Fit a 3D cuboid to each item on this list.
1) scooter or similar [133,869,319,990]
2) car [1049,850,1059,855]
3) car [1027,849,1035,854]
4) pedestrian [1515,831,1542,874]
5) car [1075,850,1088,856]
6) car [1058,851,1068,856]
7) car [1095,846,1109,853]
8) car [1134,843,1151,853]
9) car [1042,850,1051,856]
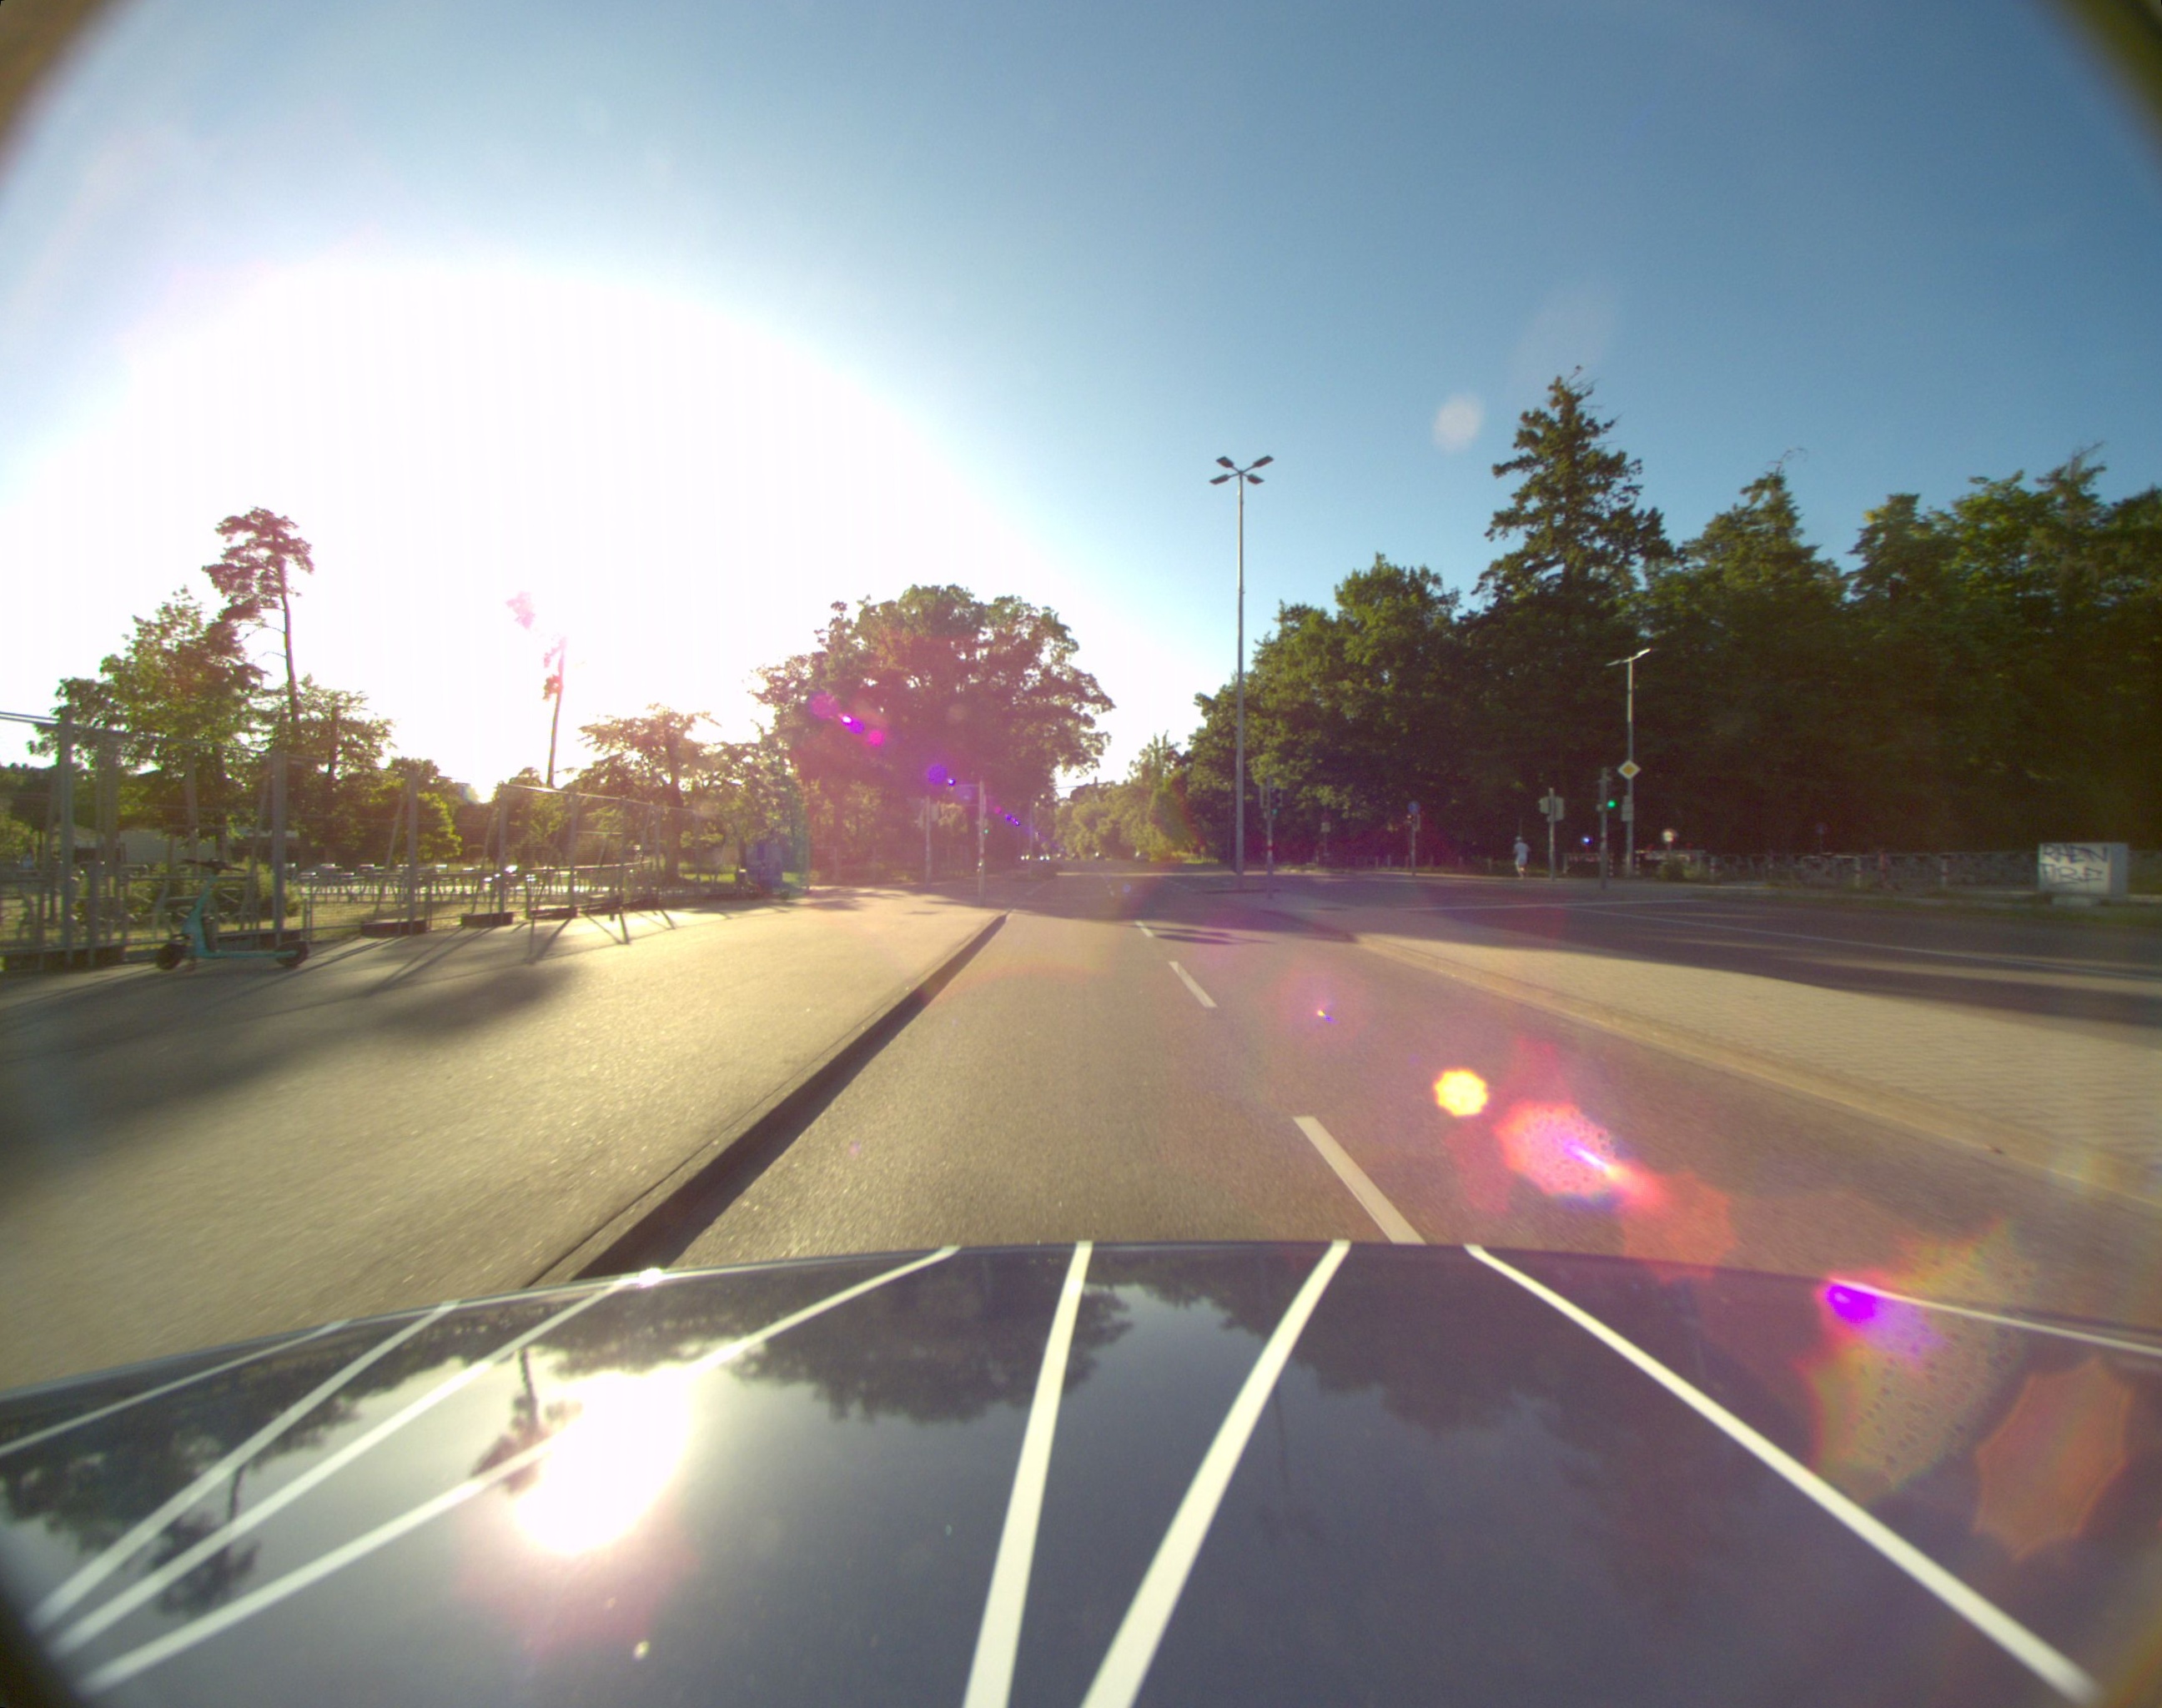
[{"bbox_3d":[-9.386,0.794,8.395,1.303,1.230,0.334,0,1,-33],"label":"scooter or similar"},{"bbox_3d":[-7.965,-0.421,222.255,1.876,1.346,4.003,0,0,-16],"label":"car"},{"bbox_3d":[-16.831,-0.844,255.610,1.876,1.346,4.003,0,0,-17],"label":"car"},{"bbox_3d":[18.561,-0.065,31.547,0.691,1.764,0.734,0,1,4],"label":"pedestrian"},{"bbox_3d":[0.119,-0.288,177.165,2.134,1.346,4.405,0,0,-13],"label":"car"},{"bbox_3d":[-4.674,-0.171,200.831,1.876,1.346,4.004,0,0,-14],"label":"car"},{"bbox_3d":[4.088,-0.972,148.700,1.875,1.346,4.006,0,0,-9],"label":"car"},{"bbox_3d":[8.563,-0.862,105.359,1.619,1.346,4.007,0,0,-6],"label":"car"},{"bbox_3d":[-8.603,-0.276,187.847,1.842,1.395,3.997,-2,1,-8],"label":"car"}]
